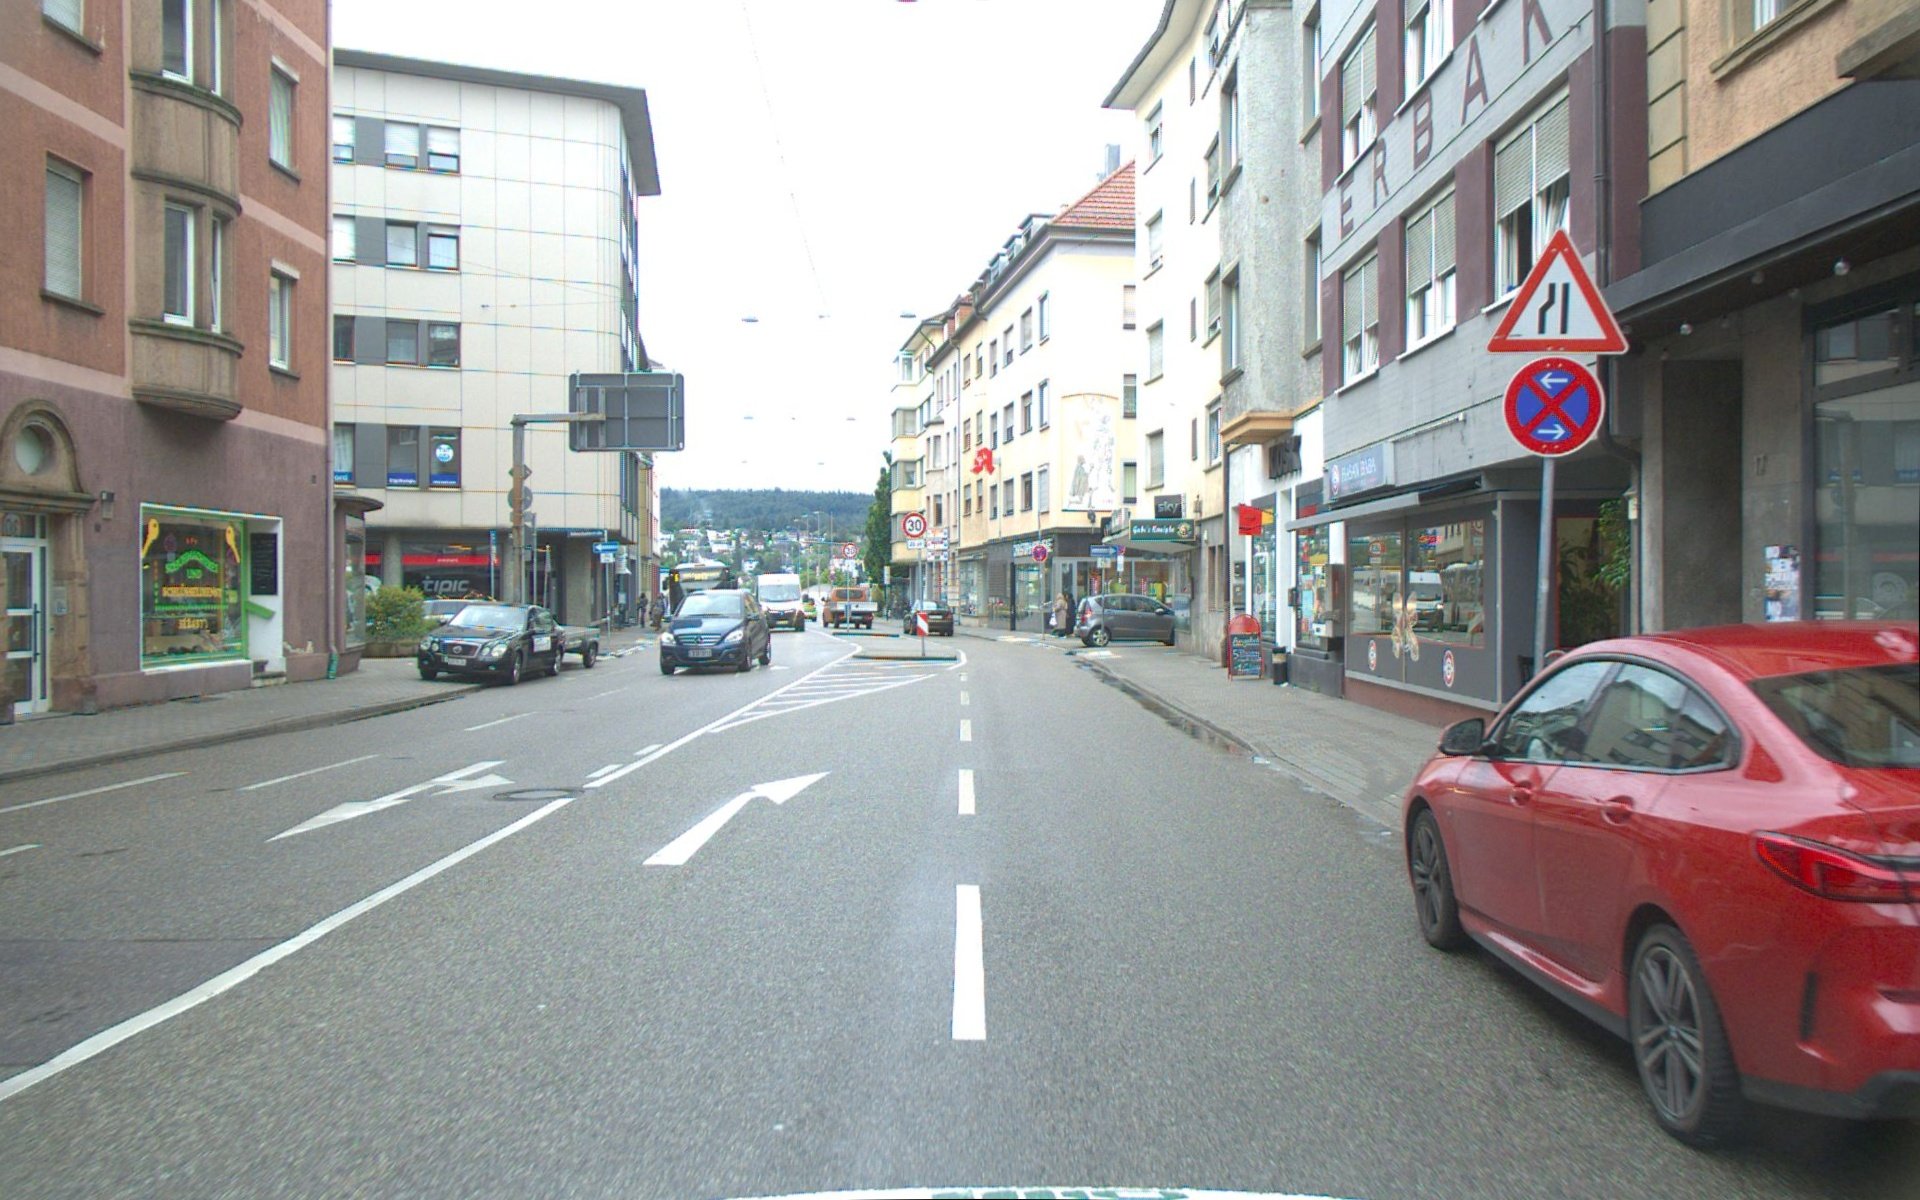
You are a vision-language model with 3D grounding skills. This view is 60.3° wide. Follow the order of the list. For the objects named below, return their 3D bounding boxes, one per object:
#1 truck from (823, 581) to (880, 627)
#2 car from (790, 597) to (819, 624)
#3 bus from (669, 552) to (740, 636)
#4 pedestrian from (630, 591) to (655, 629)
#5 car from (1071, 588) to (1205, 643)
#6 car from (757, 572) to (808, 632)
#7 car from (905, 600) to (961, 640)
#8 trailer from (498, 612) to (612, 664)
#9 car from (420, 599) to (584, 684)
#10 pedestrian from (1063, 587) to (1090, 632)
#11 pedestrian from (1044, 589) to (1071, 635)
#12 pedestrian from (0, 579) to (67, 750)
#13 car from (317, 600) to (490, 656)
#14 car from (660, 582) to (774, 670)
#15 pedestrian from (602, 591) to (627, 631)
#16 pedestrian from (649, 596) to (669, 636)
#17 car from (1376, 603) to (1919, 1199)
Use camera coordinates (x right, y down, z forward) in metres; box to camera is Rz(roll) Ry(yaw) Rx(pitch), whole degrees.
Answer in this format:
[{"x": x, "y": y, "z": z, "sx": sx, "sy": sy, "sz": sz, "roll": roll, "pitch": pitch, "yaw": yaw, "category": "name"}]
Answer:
[{"x": -5.368, "y": 0.195, "z": 81.499, "sx": 2.355, "sy": 2.167, "sz": 5.304, "roll": -1, "pitch": 0, "yaw": -9, "category": "truck"}, {"x": -10.237, "y": 0.685, "z": 108.767, "sx": 1.721, "sy": 1.680, "sz": 3.992, "roll": -1, "pitch": 0, "yaw": -8, "category": "car"}, {"x": -10.625, "y": -0.211, "z": 69.056, "sx": 2.707, "sy": 3.244, "sz": 8.894, "roll": -1, "pitch": 0, "yaw": -8, "category": "bus"}, {"x": -14.675, "y": 0.463, "z": 76.490, "sx": 0.980, "sy": 1.713, "sz": 1.264, "roll": -1, "pitch": -1, "yaw": -6, "category": "pedestrian"}, {"x": 5.412, "y": 0.473, "z": 50.503, "sx": 3.751, "sy": 1.601, "sz": 1.934, "roll": -1, "pitch": -1, "yaw": -6, "category": "car"}, {"x": -7.776, "y": 0.091, "z": 72.013, "sx": 2.047, "sy": 2.478, "sz": 6.342, "roll": -1, "pitch": 0, "yaw": -7, "category": "car"}, {"x": -1.105, "y": 0.788, "z": 66.023, "sx": 1.721, "sy": 1.505, "sz": 3.992, "roll": -1, "pitch": 0, "yaw": -8, "category": "car"}, {"x": -8.769, "y": 0.804, "z": 36.024, "sx": 1.555, "sy": 0.965, "sz": 3.057, "roll": 5, "pitch": 0, "yaw": 2, "category": "trailer"}, {"x": -8.742, "y": 0.742, "z": 32.028, "sx": 1.812, "sy": 1.422, "sz": 4.792, "roll": 3, "pitch": 0, "yaw": -1, "category": "car"}, {"x": 4.173, "y": 0.340, "z": 59.276, "sx": 0.754, "sy": 1.587, "sz": 0.874, "roll": -1, "pitch": -1, "yaw": -10, "category": "pedestrian"}, {"x": 3.460, "y": 0.430, "z": 58.757, "sx": 0.764, "sy": 1.587, "sz": 0.781, "roll": -1, "pitch": -1, "yaw": -10, "category": "pedestrian"}, {"x": -9.807, "y": 0.644, "z": 16.999, "sx": 0.828, "sy": 1.708, "sz": 0.850, "roll": 2, "pitch": -1, "yaw": -13, "category": "pedestrian"}, {"x": -16.314, "y": 0.803, "z": 48.534, "sx": 4.576, "sy": 1.559, "sz": 1.888, "roll": 0, "pitch": -1, "yaw": -29, "category": "car"}, {"x": -4.956, "y": 0.526, "z": 34.229, "sx": 1.718, "sy": 1.680, "sz": 4.306, "roll": -1, "pitch": 0, "yaw": 0, "category": "car"}, {"x": -14.286, "y": 0.450, "z": 68.402, "sx": 0.927, "sy": 1.617, "sz": 0.833, "roll": -1, "pitch": -1, "yaw": -6, "category": "pedestrian"}, {"x": -12.967, "y": 0.698, "z": 71.258, "sx": 0.860, "sy": 1.721, "sz": 0.886, "roll": -1, "pitch": -1, "yaw": -11, "category": "pedestrian"}, {"x": 2.900, "y": 0.741, "z": 5.942, "sx": 1.708, "sy": 1.393, "sz": 4.314, "roll": -1, "pitch": 0, "yaw": 0, "category": "car"}]
